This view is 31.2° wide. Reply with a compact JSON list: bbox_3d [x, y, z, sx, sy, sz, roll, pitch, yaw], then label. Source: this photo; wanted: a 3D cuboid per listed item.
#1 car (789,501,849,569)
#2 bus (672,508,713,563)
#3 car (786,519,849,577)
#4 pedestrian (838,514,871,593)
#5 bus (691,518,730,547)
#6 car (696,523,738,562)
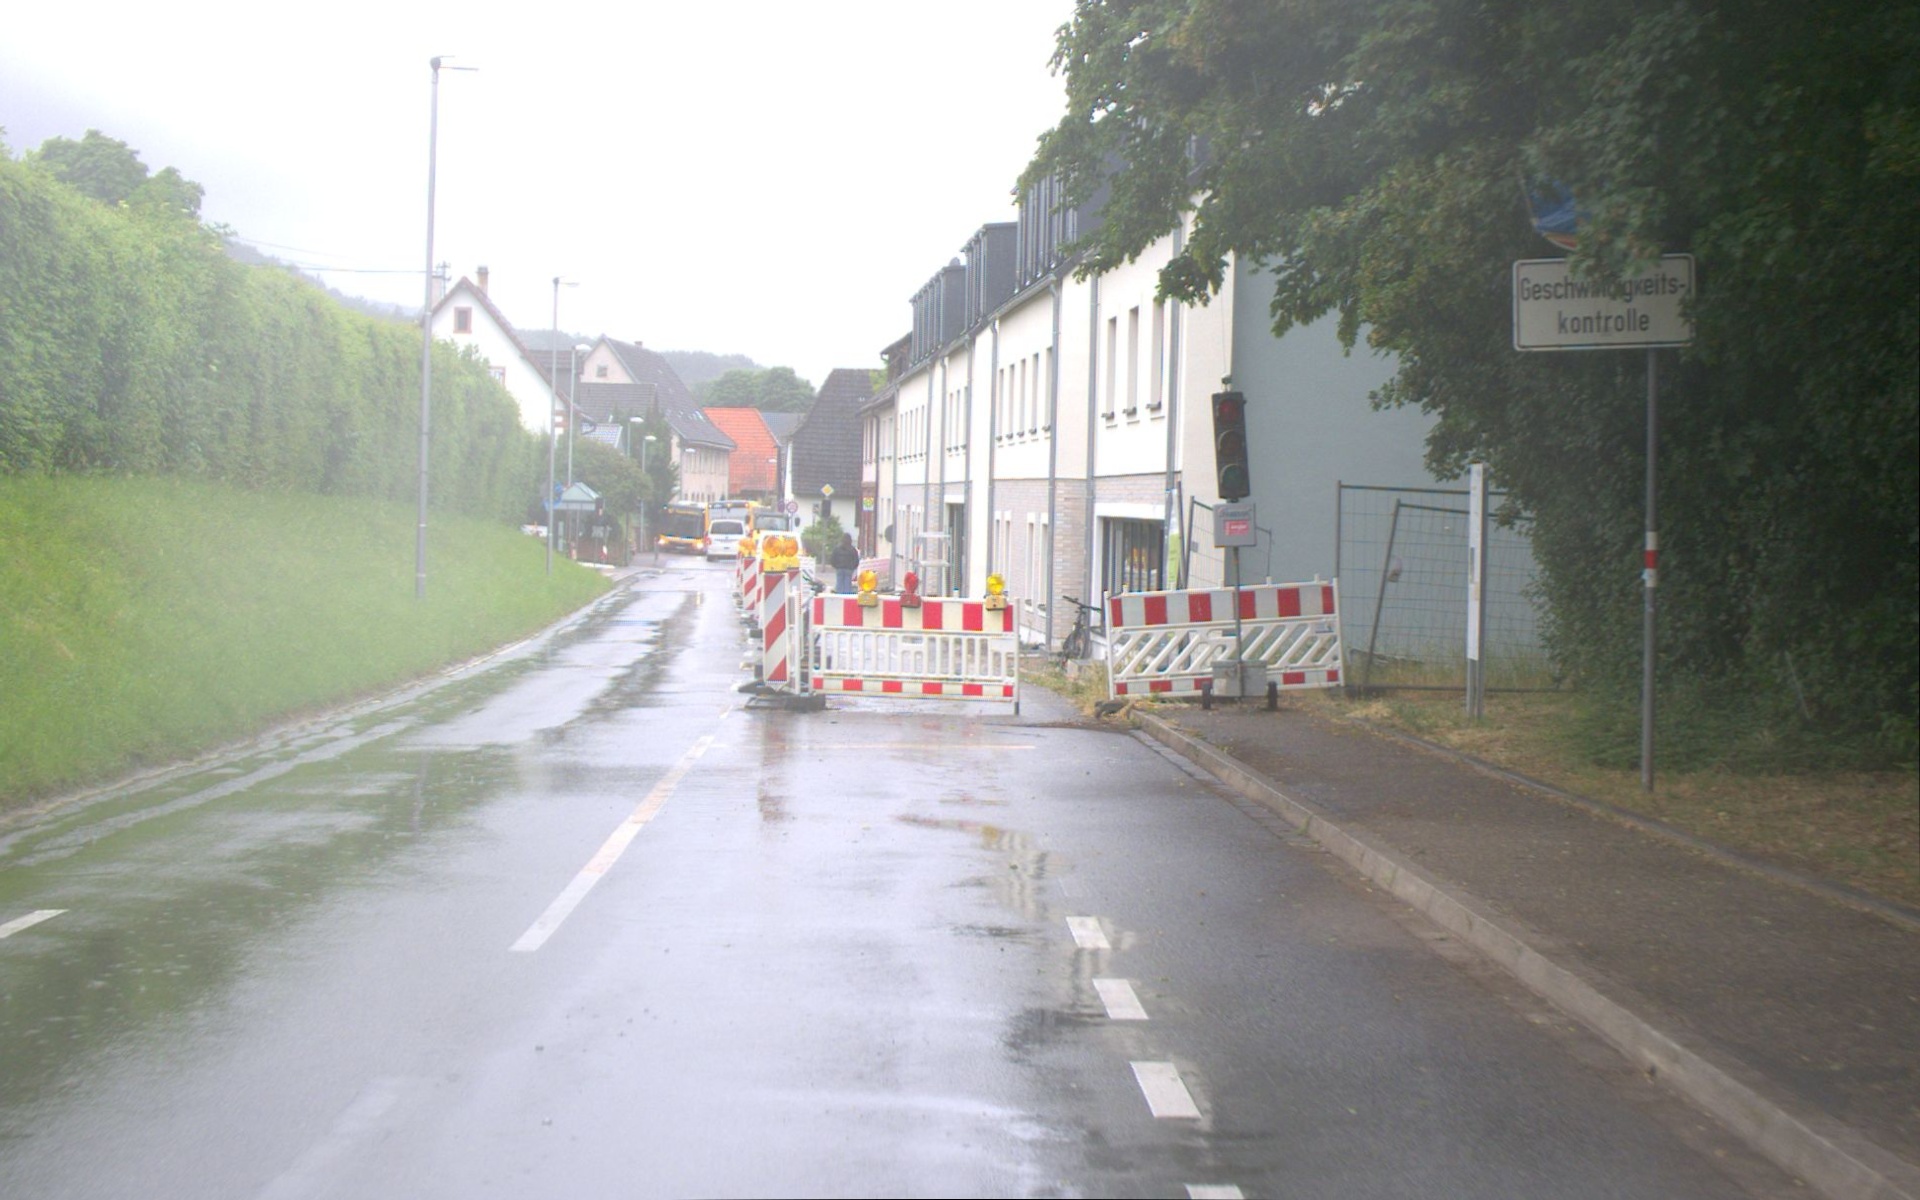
[{"bbox_3d":[-5.185,-2.378,125.895,1.993,2.367,4.096,-3,1,-4],"label":"car"},{"bbox_3d":[-15.300,-3.686,196.795,2.241,3.092,7.032,-1,1,-4],"label":"bus"},{"bbox_3d":[-4.507,-1.646,108.746,1.904,1.766,3.888,-1,1,-2],"label":"car"},{"bbox_3d":[-2.376,-1.047,77.400,0.665,1.749,0.812,1,1,-5],"label":"pedestrian"},{"bbox_3d":[-13.180,-3.555,181.653,1.794,1.405,4.000,3,1,-2],"label":"bus"},{"bbox_3d":[-11.322,-2.690,160.185,1.818,1.636,4.096,-4,2,-4],"label":"car"}]
